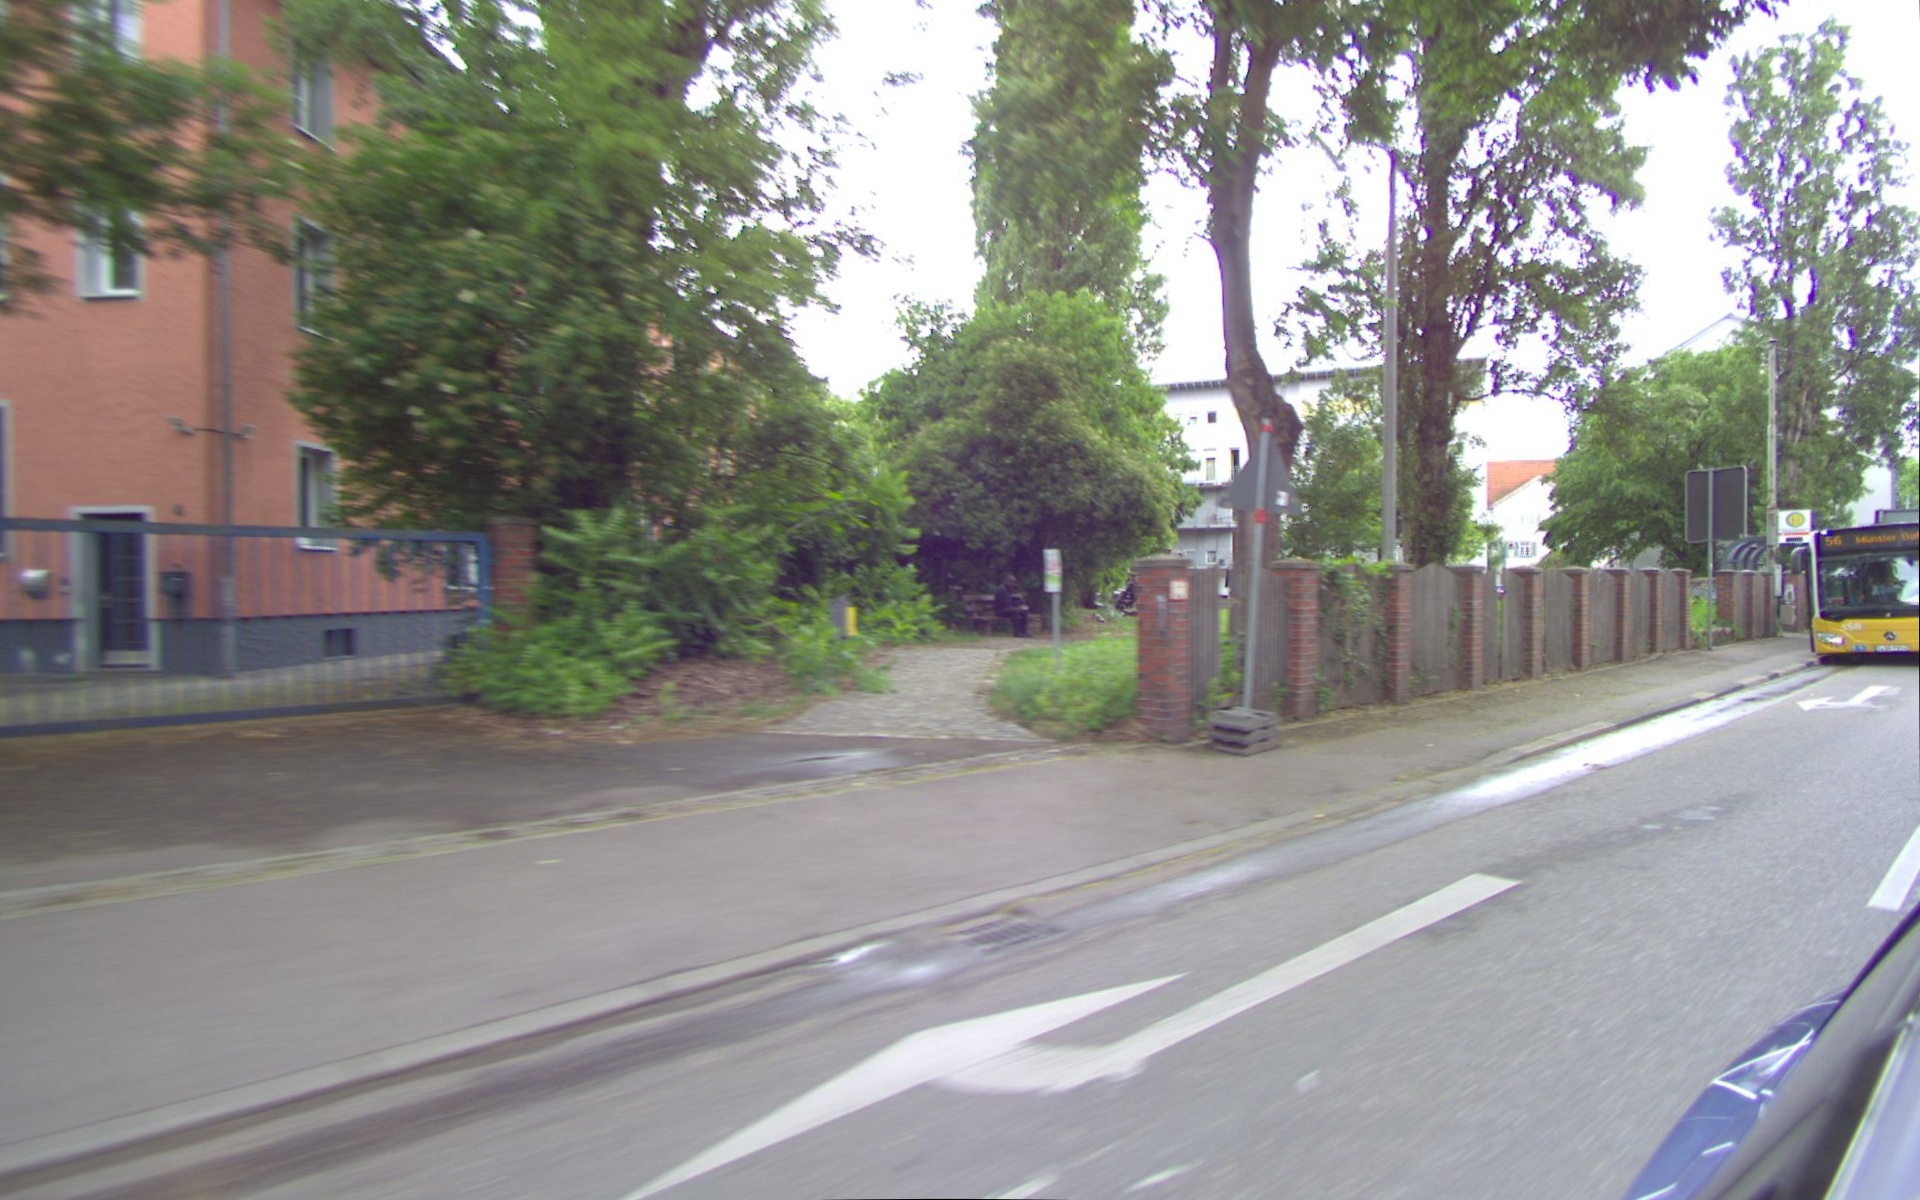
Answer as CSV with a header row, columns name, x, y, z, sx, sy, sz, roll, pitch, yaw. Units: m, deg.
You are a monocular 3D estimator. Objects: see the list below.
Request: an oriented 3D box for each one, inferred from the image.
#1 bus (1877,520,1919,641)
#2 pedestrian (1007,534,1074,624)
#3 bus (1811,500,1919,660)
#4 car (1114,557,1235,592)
name,x,y,z,sx,sy,sz,roll,pitch,yaw
bus,29.460,-0.595,29.622,9.866,3.176,2.666,-1,-2,-41
pedestrian,1.887,-0.499,23.589,1.126,2.038,1.238,1,2,32
bus,22.352,-0.449,23.368,9.058,3.179,2.675,-1,-2,-41
car,10.449,-1.245,49.459,5.502,1.608,1.984,0,3,26
